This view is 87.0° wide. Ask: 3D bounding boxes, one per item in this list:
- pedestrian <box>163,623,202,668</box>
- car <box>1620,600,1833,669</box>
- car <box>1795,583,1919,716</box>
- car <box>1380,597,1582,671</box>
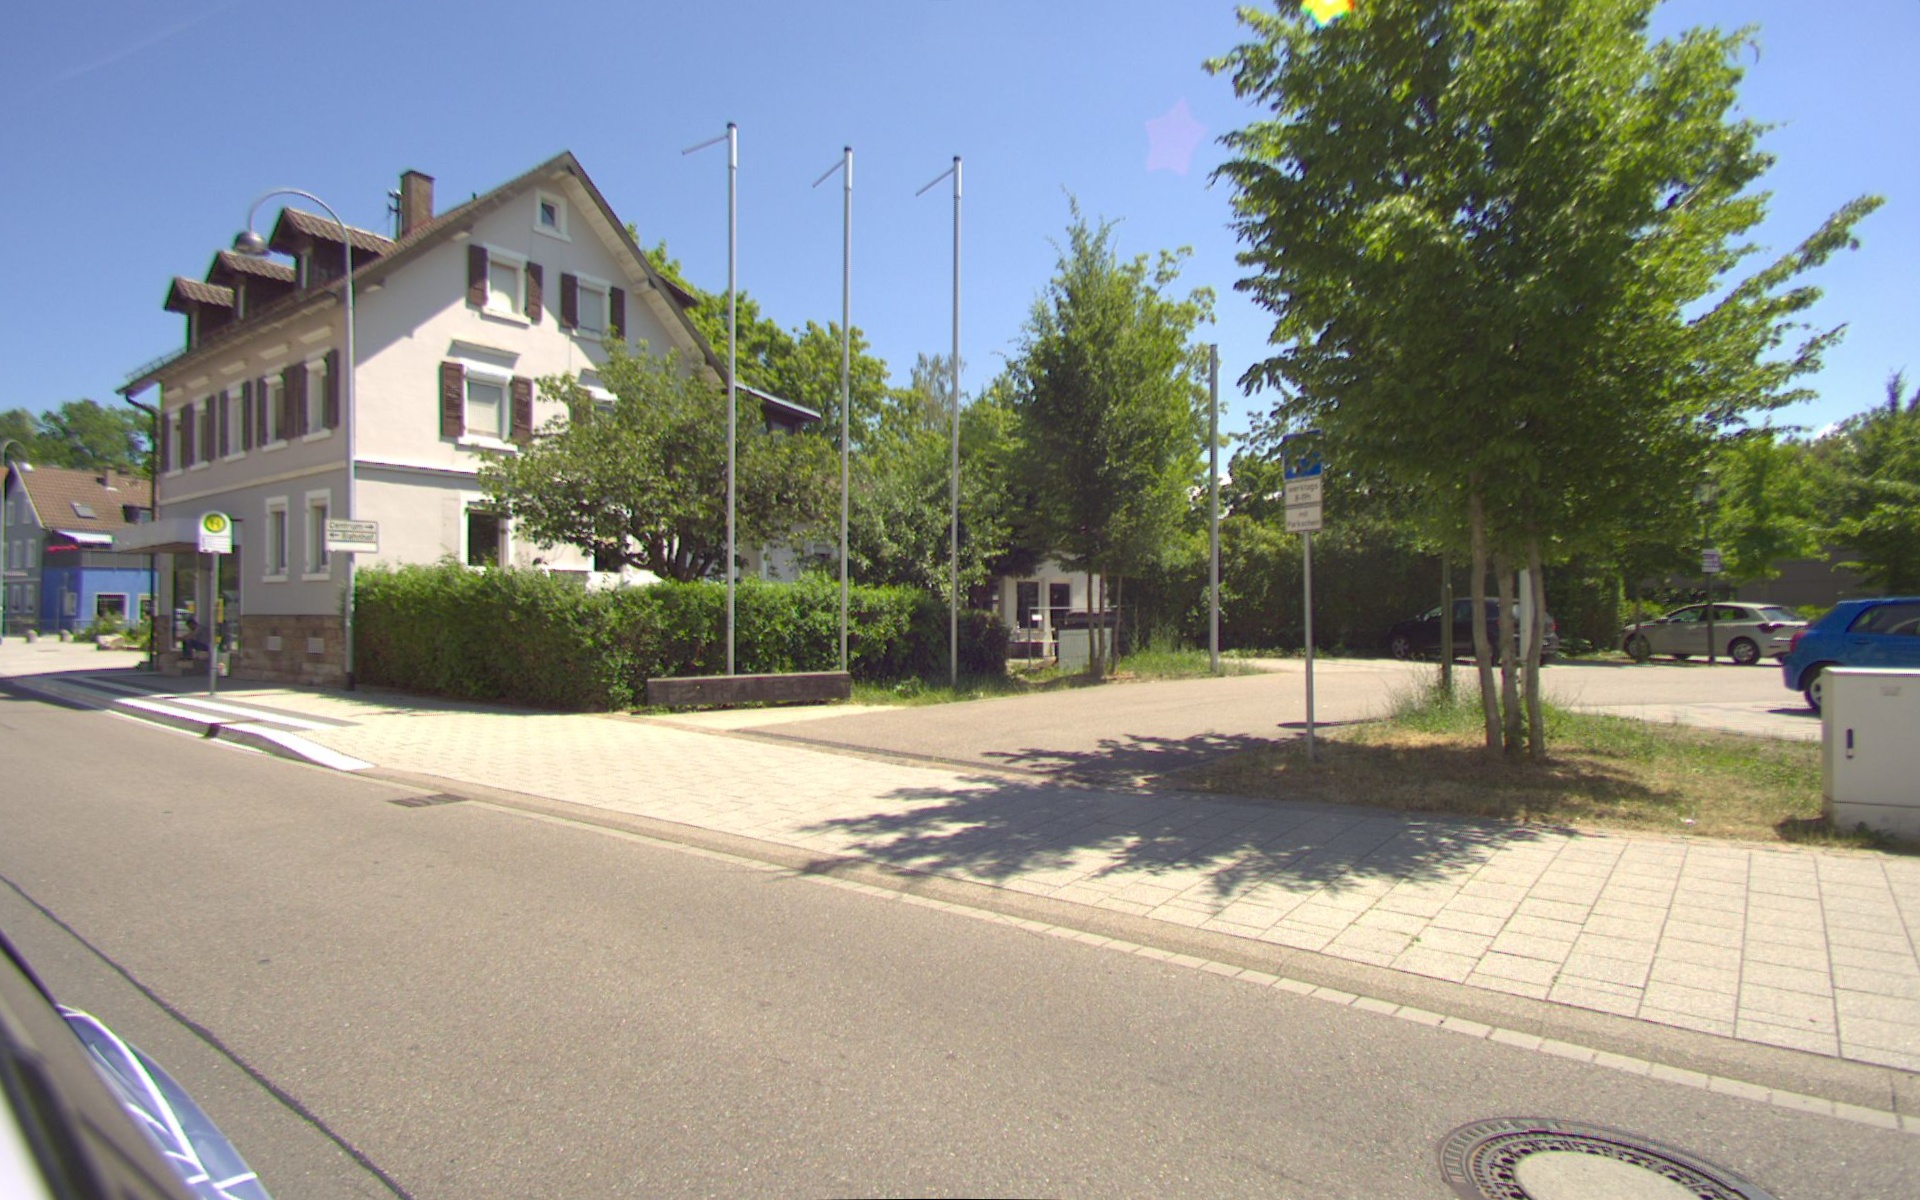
[{"bbox_3d":[-18.777,1.084,24.434,0.566,1.067,0.591,-1,-1,35],"label":"pedestrian"},{"bbox_3d":[18.268,0.785,24.335,1.662,1.503,3.779,0,-1,-19],"label":"car"},{"bbox_3d":[11.930,0.573,11.010,1.670,1.497,4.093,2,-2,-22],"label":"car"},{"bbox_3d":[11.492,0.709,22.598,1.662,1.503,3.779,0,-1,-24],"label":"car"}]
